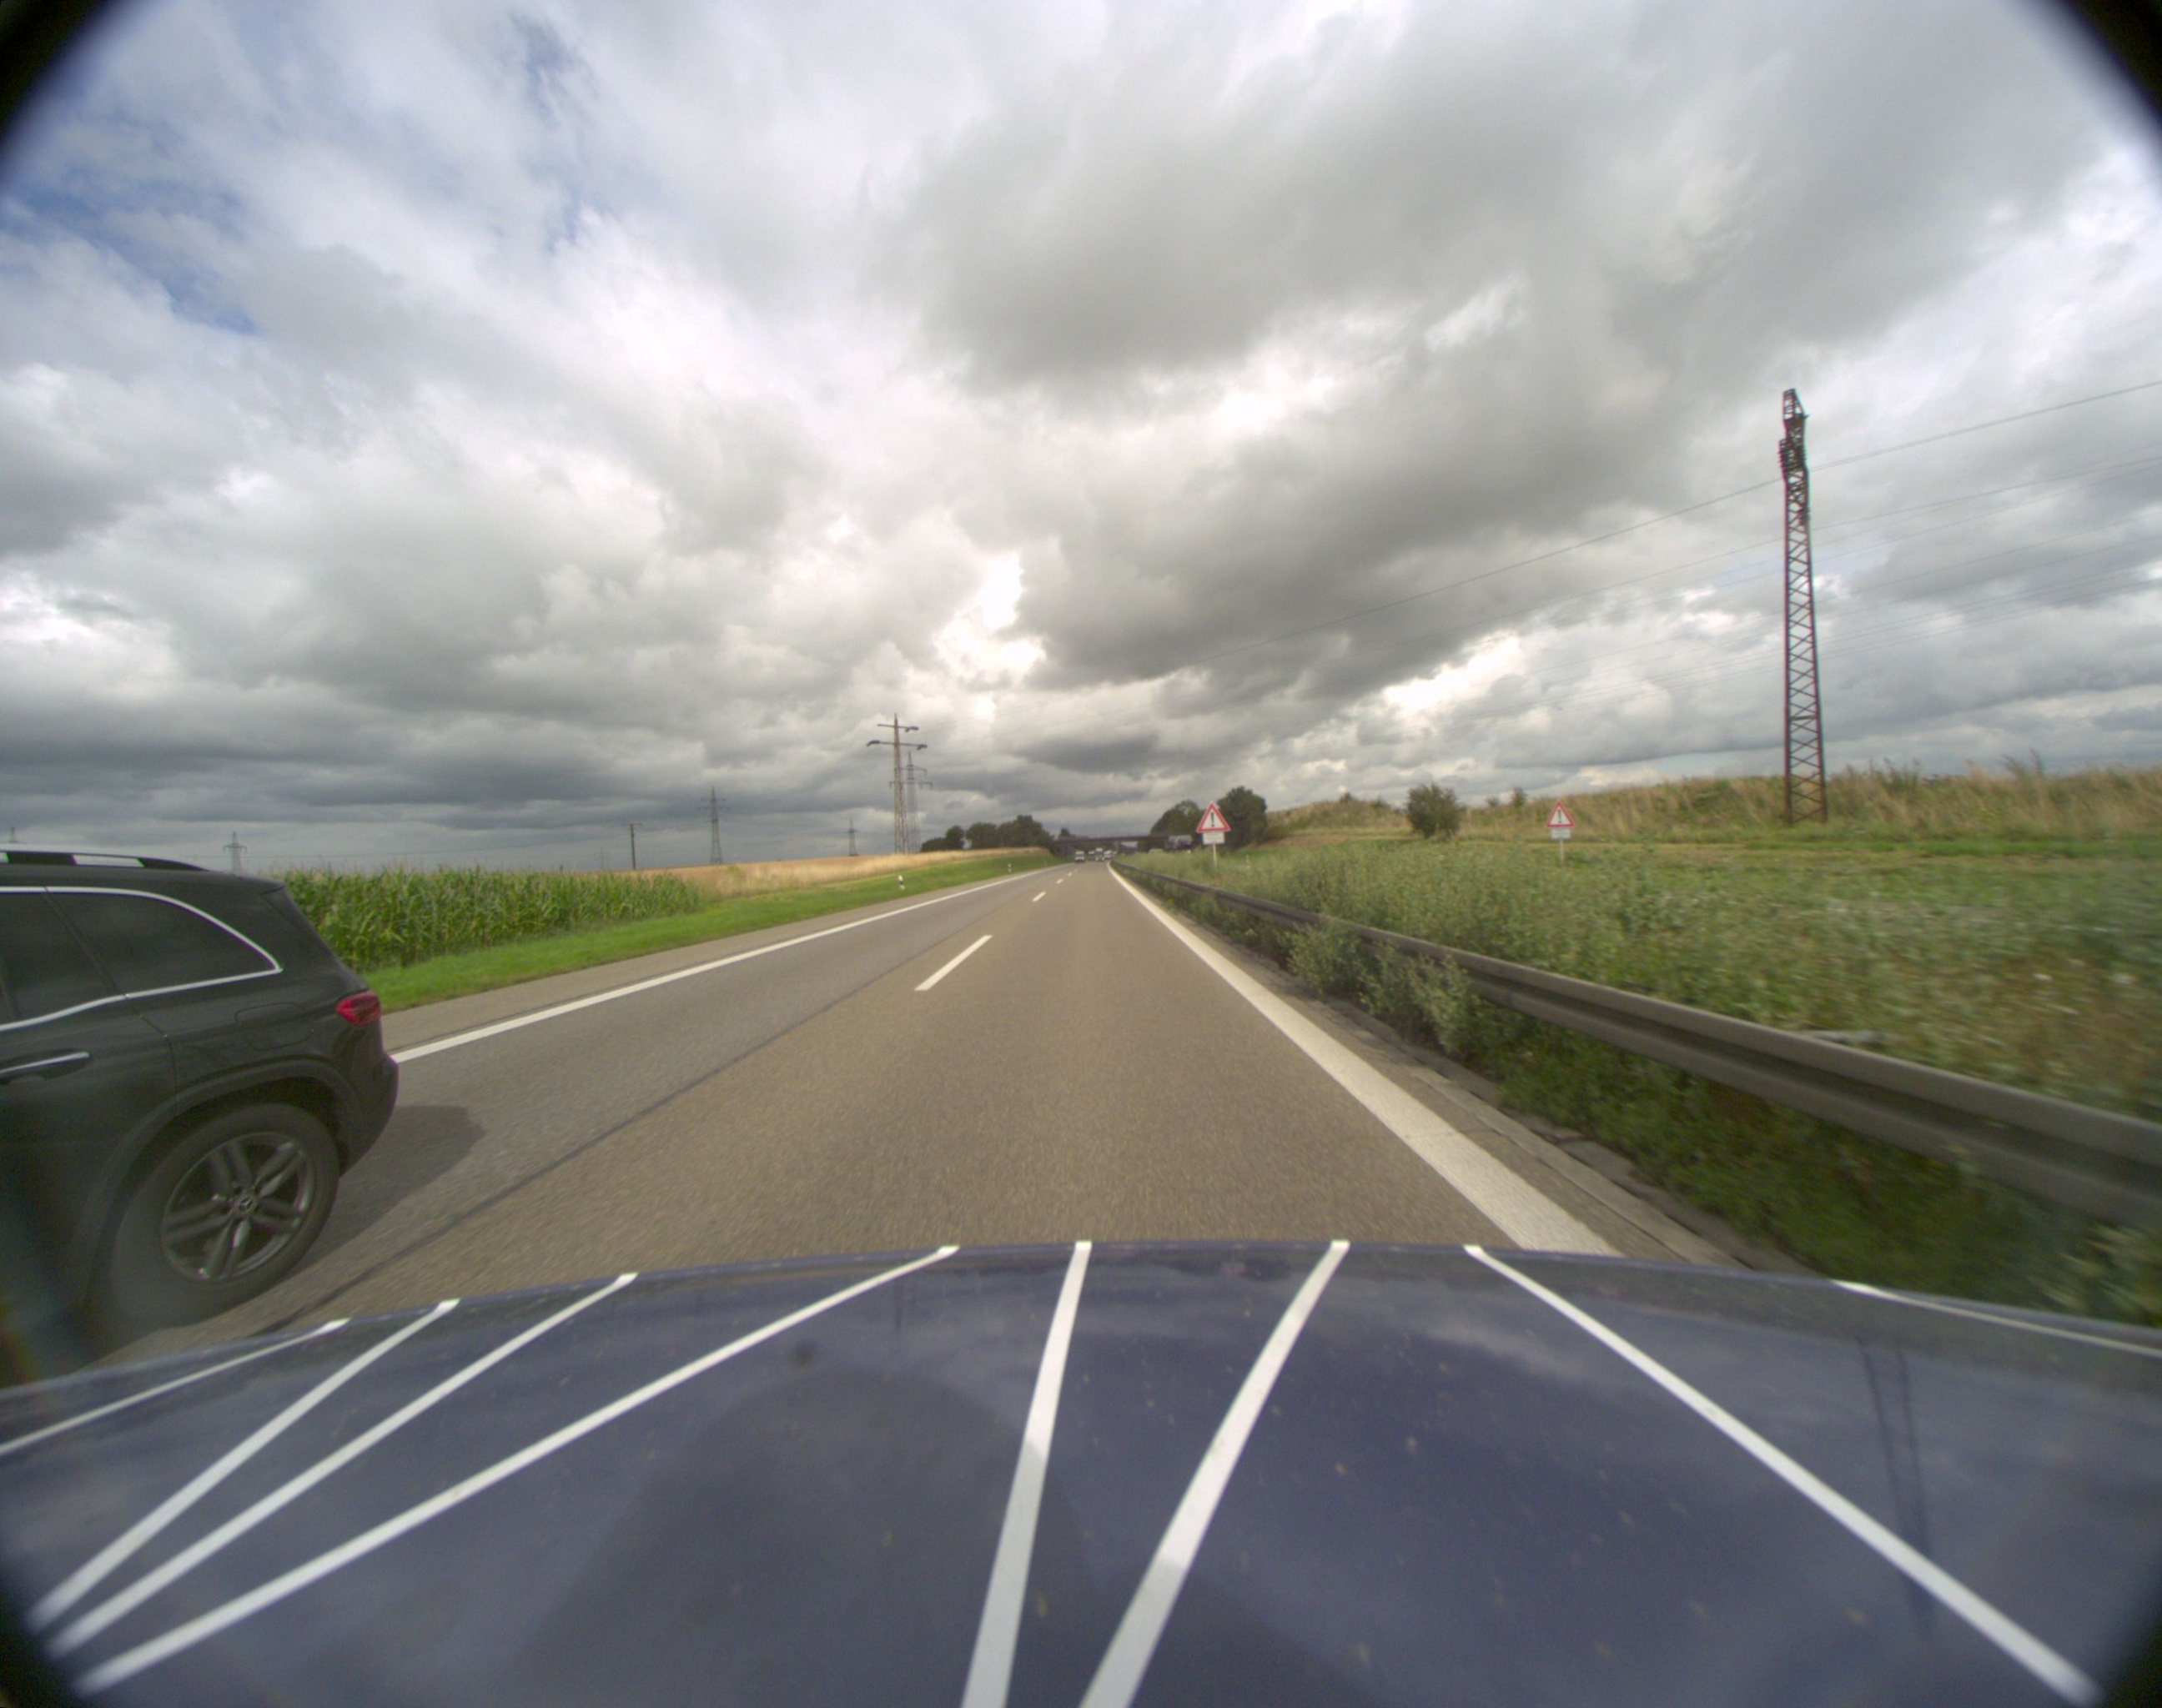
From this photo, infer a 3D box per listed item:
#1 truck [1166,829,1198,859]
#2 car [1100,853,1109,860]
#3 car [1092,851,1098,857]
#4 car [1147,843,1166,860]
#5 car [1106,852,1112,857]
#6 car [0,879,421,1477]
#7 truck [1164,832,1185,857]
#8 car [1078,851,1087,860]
[{"bbox_3d":[14.498,-1.370,110.248,2.729,3.913,17.402,-2,0,2],"label":"truck"},{"bbox_3d":[5.653,0.609,185.855,1.998,1.695,4.663,-4,-1,1],"label":"car"},{"bbox_3d":[4.318,0.099,233.553,1.833,1.849,5.790,-1,0,1],"label":"car"},{"bbox_3d":[9.823,-0.332,99.603,1.998,2.002,5.032,-2,1,1],"label":"car"},{"bbox_3d":[9.254,0.108,250.243,1.998,1.698,3.999,-2,0,0],"label":"car"},{"bbox_3d":[-3.941,0.961,1.242,1.838,1.600,4.360,-2,1,0],"label":"car"},{"bbox_3d":[14.739,-1.475,120.140,2.729,3.913,5.987,-2,0,1],"label":"truck"},{"bbox_3d":[0.304,0.353,170.105,1.998,1.812,4.342,-2,0,1],"label":"car"}]
